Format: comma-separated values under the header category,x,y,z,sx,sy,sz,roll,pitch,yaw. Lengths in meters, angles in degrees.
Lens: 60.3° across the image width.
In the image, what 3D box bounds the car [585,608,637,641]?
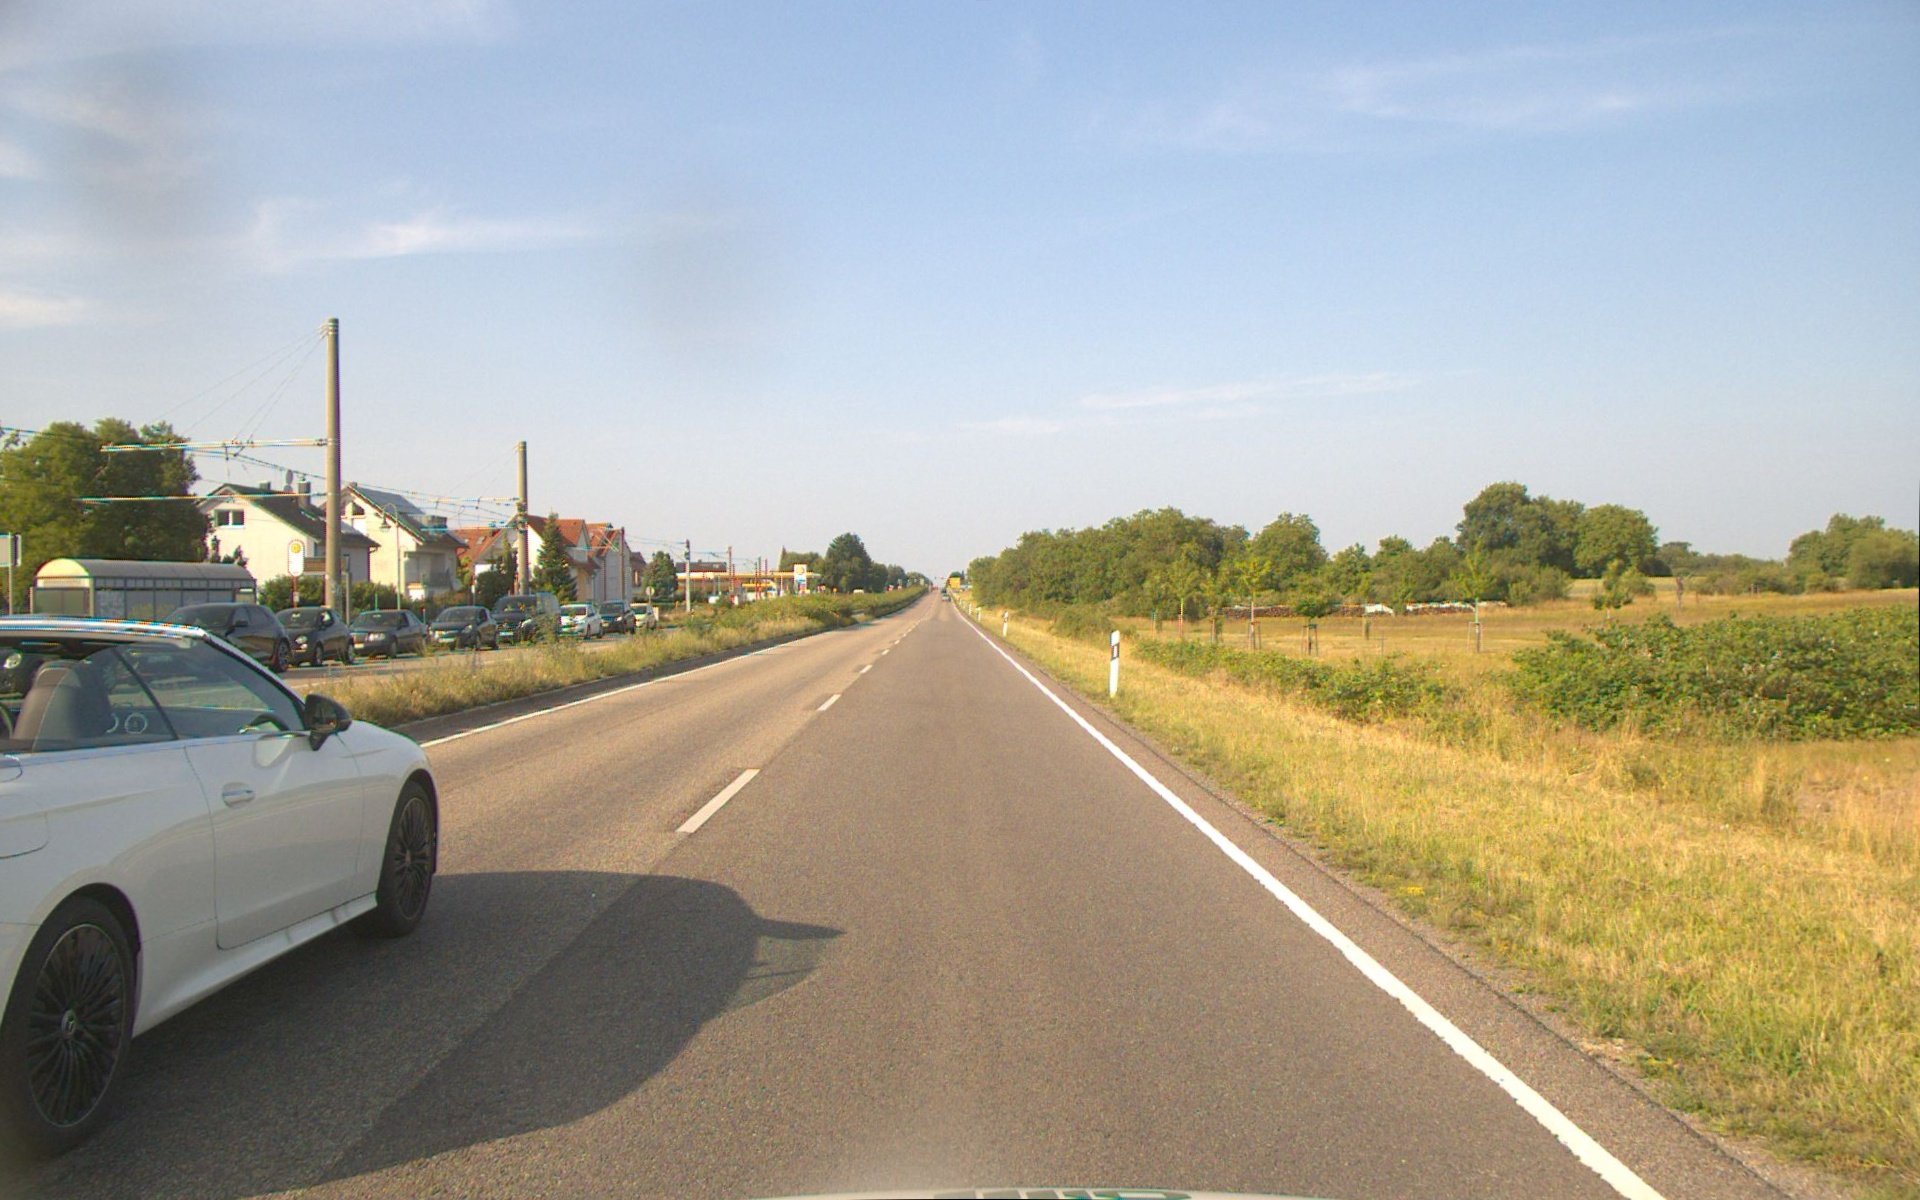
category,x,y,z,sx,sy,sz,roll,pitch,yaw
car,-16.878,1.169,80.103,1.626,1.456,4.325,-2,0,-1

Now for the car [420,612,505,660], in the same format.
category,x,y,z,sx,sy,sz,roll,pitch,yaw
car,-16.651,1.184,55.517,1.626,1.456,4.055,-2,0,-1

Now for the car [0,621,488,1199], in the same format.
category,x,y,z,sx,sy,sz,roll,pitch,yaw
car,-3.180,0.798,5.604,1.735,1.361,4.949,1,0,0

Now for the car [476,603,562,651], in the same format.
category,x,y,z,sx,sy,sz,roll,pitch,yaw
car,-16.722,0.997,63.010,1.876,1.712,5.252,-2,0,-1

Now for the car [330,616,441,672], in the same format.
category,x,y,z,sx,sy,sz,roll,pitch,yaw
car,-16.758,1.243,48.491,1.626,1.456,4.716,-2,0,-1

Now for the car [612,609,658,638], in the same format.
category,x,y,z,sx,sy,sz,roll,pitch,yaw
car,-17.381,1.255,88.617,1.626,1.456,4.325,-2,0,-1

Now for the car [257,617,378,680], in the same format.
category,x,y,z,sx,sy,sz,roll,pitch,yaw
car,-16.407,1.197,42.397,1.626,1.456,3.804,-2,0,-1

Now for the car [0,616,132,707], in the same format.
category,x,y,z,sx,sy,sz,roll,pitch,yaw
car,-16.414,1.063,29.266,1.626,1.456,3.804,-2,0,-1

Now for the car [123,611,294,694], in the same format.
category,x,y,z,sx,sy,sz,roll,pitch,yaw
car,-16.120,1.072,35.735,1.626,1.590,4.545,-2,0,-1

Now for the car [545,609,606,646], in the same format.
category,x,y,z,sx,sy,sz,roll,pitch,yaw
car,-16.576,1.160,71.524,1.626,1.456,4.447,-2,0,-1
